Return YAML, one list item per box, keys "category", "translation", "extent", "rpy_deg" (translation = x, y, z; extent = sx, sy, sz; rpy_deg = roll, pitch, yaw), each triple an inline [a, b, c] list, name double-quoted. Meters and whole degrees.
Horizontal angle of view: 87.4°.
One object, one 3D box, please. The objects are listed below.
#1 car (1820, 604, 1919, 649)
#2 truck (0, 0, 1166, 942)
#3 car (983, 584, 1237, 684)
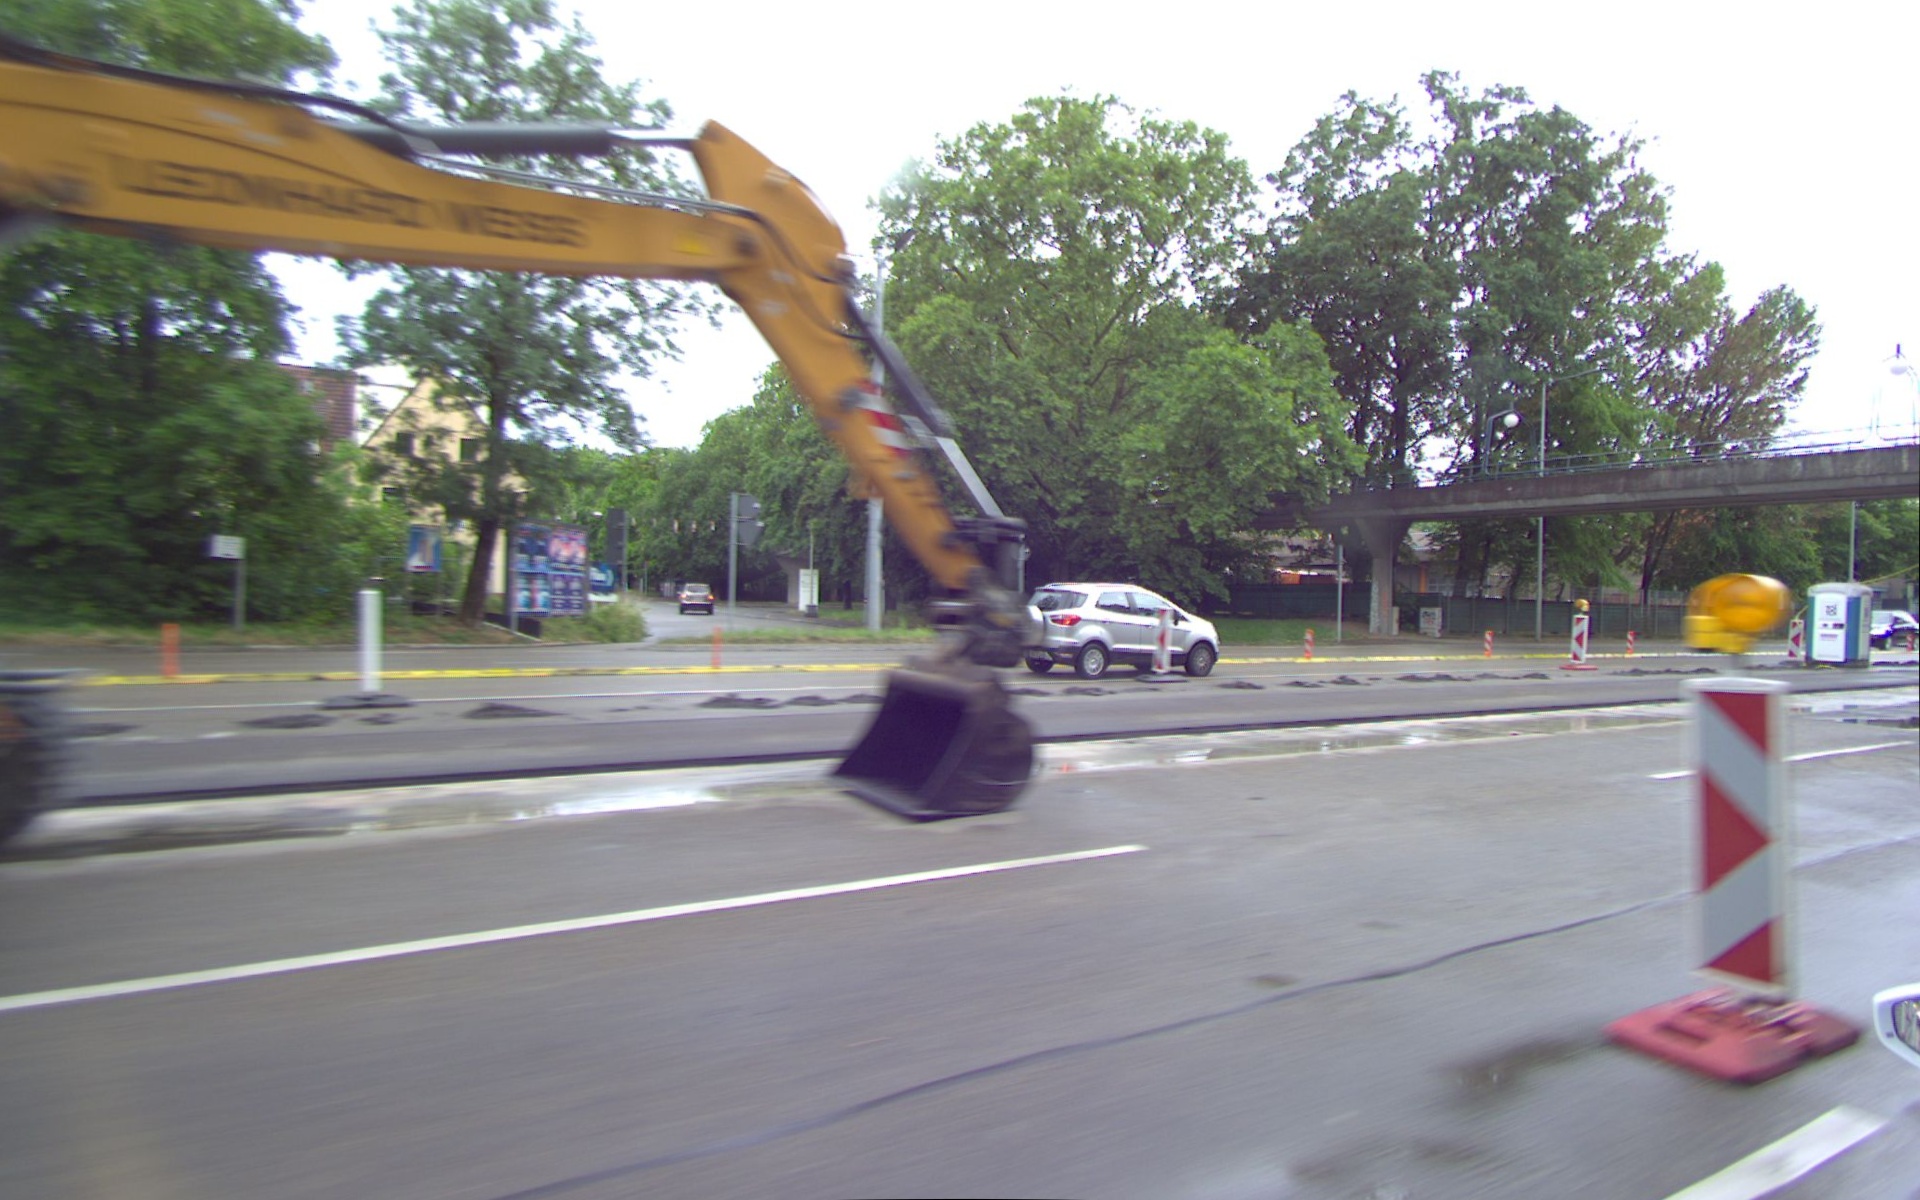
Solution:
- category: "car"
  translation: [39.302, 1.145, 43.280]
  extent: [4.551, 1.830, 1.963]
  rpy_deg: [2, -1, -29]
- category: "truck"
  translation: [-3.828, -0.971, 4.971]
  extent: [10.647, 4.316, 2.878]
  rpy_deg: [1, 1, -35]
- category: "car"
  translation: [2.746, 0.579, 18.165]
  extent: [4.313, 1.585, 1.879]
  rpy_deg: [1, 1, -31]
